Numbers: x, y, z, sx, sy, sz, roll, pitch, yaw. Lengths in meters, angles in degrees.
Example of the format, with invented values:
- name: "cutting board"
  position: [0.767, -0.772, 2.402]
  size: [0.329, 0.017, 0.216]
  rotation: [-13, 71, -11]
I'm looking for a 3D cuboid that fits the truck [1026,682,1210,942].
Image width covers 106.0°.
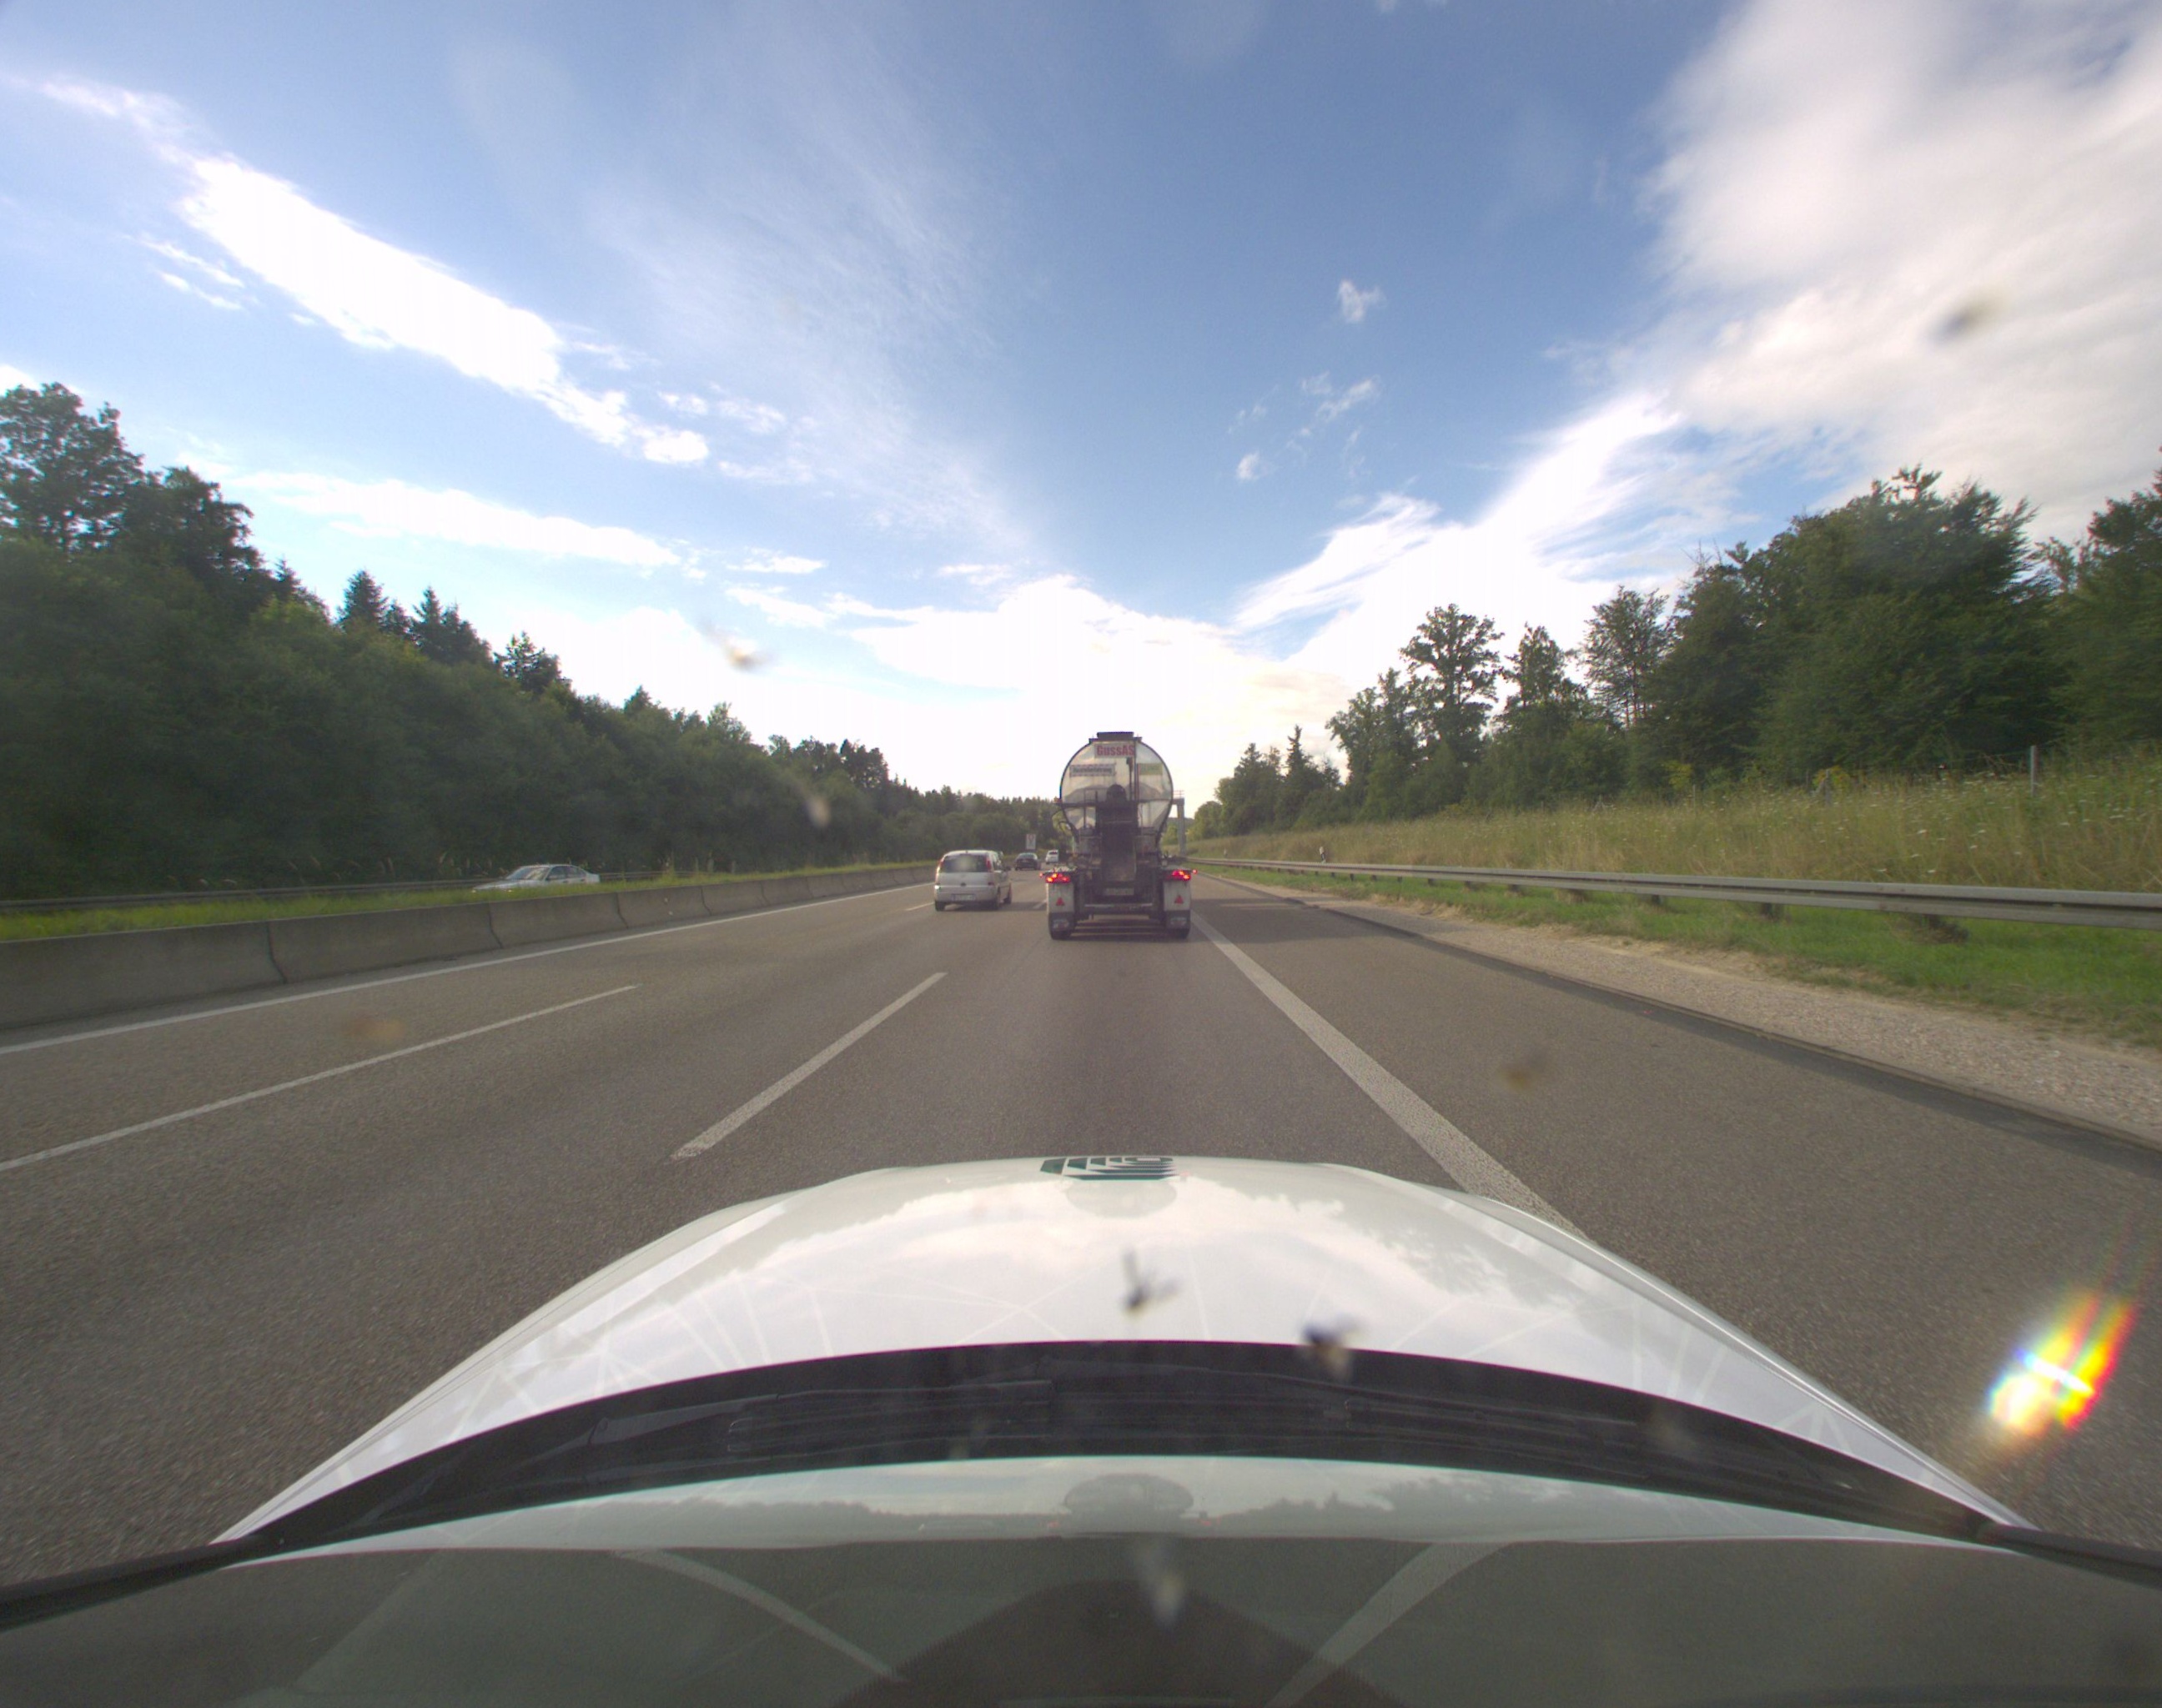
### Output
- name: "truck"
  position: [0.893, -0.708, 18.860]
  size: [2.901, 4.157, 11.278]
  rotation: [-1, 0, 3]

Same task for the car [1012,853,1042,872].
- name: "car"
  position: [-4.354, 0.658, 66.702]
  size: [1.848, 1.431, 4.844]
  rotation: [-1, 0, 3]

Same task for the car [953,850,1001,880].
- name: "car"
  position: [-5.553, 0.573, 44.110]
  size: [1.828, 1.517, 4.336]
  rotation: [-1, 0, 3]

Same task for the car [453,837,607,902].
- name: "car"
  position: [-17.816, 0.447, 26.636]
  size: [1.919, 1.905, 4.431]
  rotation: [-1, 0, 1]

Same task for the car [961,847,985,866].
- name: "car"
  position: [-11.739, 0.225, 88.891]
  size: [1.986, 2.013, 4.073]
  rotation: [-1, 0, 2]

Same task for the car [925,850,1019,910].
- name: "car"
  position: [-2.938, 0.651, 22.895]
  size: [1.828, 1.517, 4.336]
  rotation: [-1, 0, 3]

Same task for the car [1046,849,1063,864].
- name: "car"
  position: [-2.956, 0.285, 89.935]
  size: [1.612, 1.544, 3.522]
  rotation: [-1, 0, 2]

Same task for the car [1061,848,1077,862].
- name: "car"
  position: [-1.530, 0.113, 105.891]
  size: [1.839, 1.783, 4.001]
  rotation: [-1, 0, 1]

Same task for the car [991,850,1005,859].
- name: "car"
  position: [-15.267, 0.083, 149.785]
  size: [1.872, 1.628, 4.572]
  rotation: [-1, 0, 2]

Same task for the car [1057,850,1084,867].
- name: "car"
  position: [-0.930, 0.375, 74.906]
  size: [2.051, 1.499, 5.740]
  rotation: [-1, 0, 3]
